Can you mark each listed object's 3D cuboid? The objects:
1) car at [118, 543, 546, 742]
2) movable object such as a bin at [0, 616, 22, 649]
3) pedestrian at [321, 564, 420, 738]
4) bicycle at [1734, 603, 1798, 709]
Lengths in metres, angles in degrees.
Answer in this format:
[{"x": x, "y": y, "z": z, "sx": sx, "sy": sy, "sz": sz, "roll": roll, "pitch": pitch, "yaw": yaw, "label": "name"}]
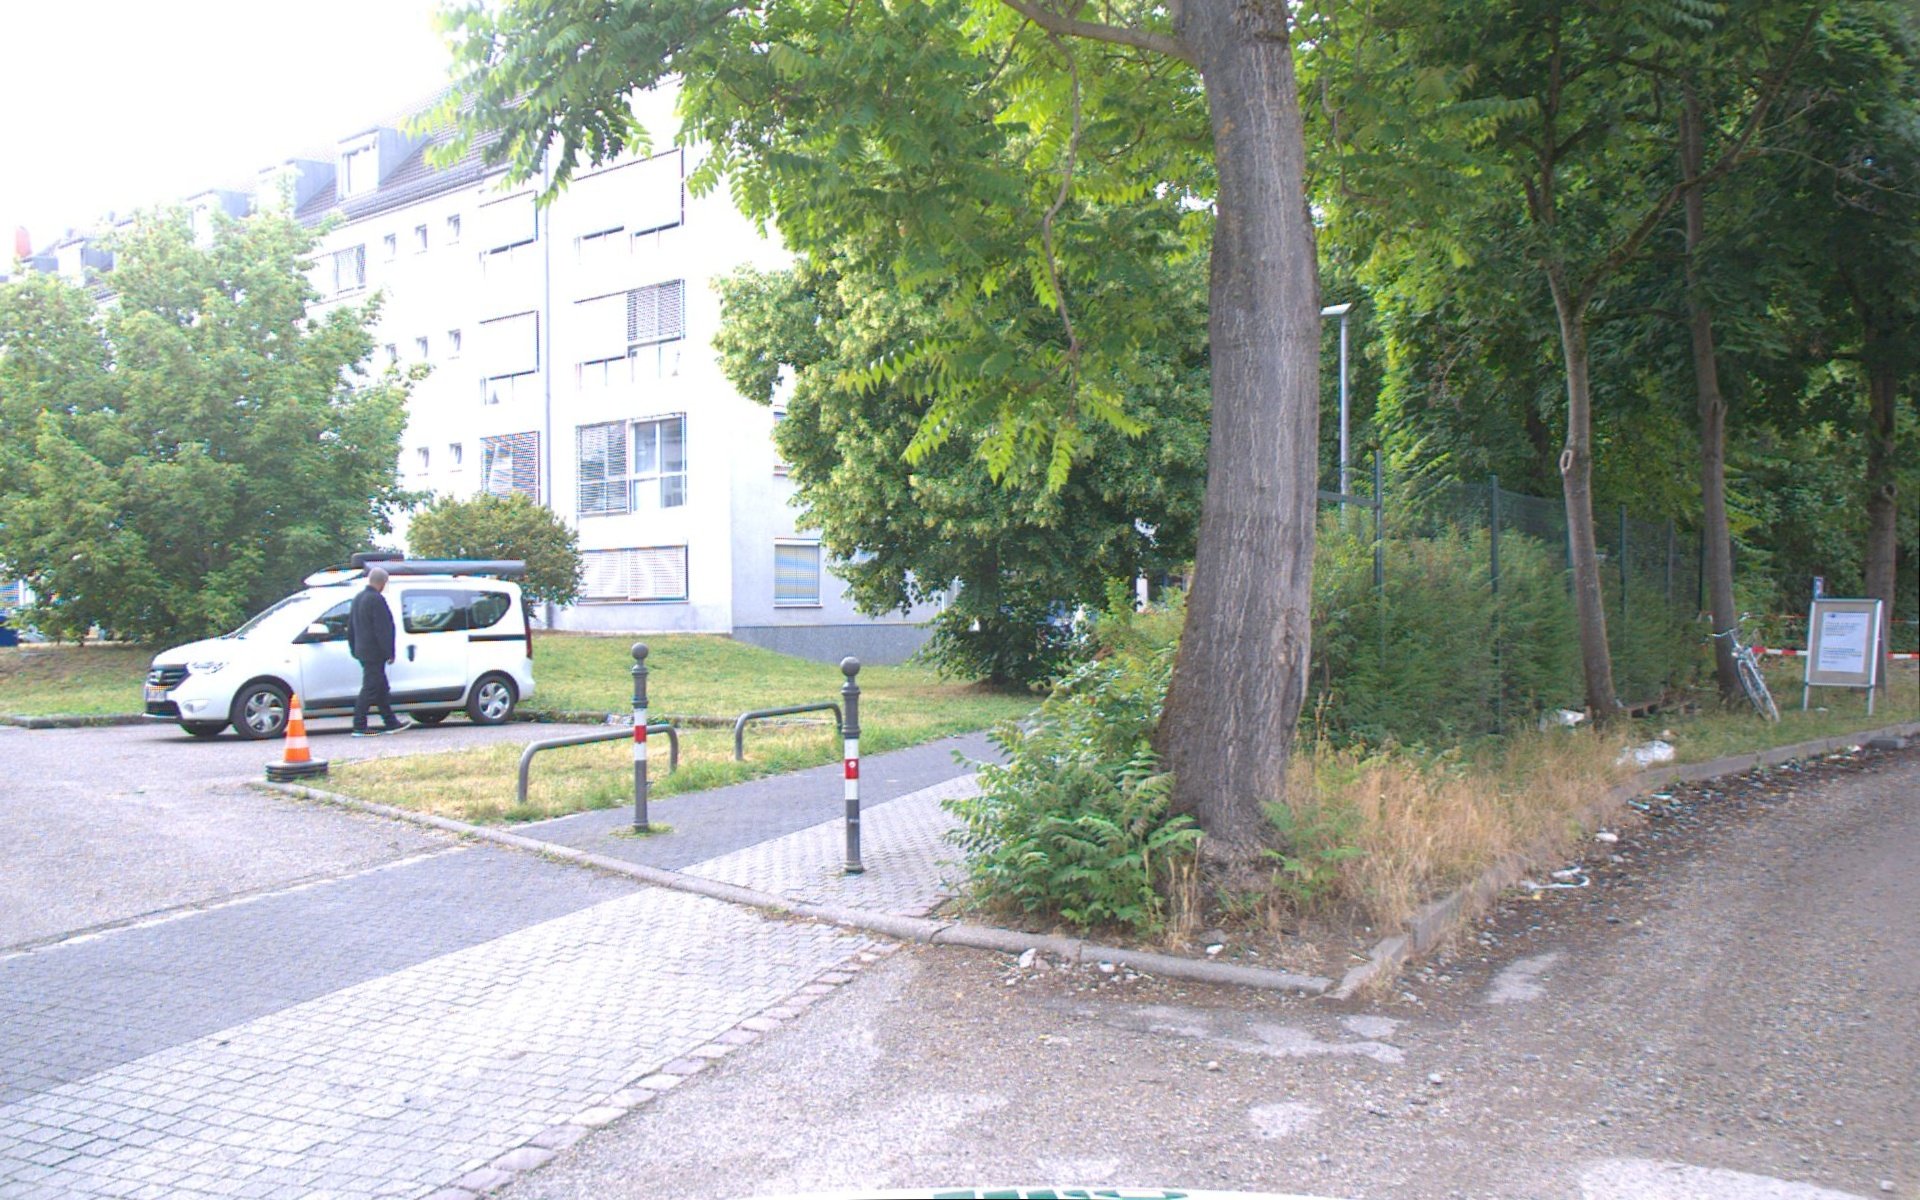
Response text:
[{"x": -7.186, "y": 0.460, "z": 19.252, "sx": 1.821, "sy": 2.049, "sz": 4.326, "roll": -2, "pitch": -1, "yaw": 41, "label": "car"}, {"x": -19.199, "y": 0.648, "z": 32.704, "sx": 0.960, "sy": 0.648, "sz": 0.897, "roll": 0, "pitch": -2, "yaw": -42, "label": "movable object such as a bin"}, {"x": -6.420, "y": 0.549, "z": 18.012, "sx": 0.686, "sy": 1.840, "sz": 0.752, "roll": -3, "pitch": -2, "yaw": 42, "label": "pedestrian"}, {"x": 7.697, "y": 0.518, "z": 15.775, "sx": 0.411, "sy": 0.921, "sz": 1.152, "roll": 6, "pitch": 3, "yaw": 29, "label": "bicycle"}]
